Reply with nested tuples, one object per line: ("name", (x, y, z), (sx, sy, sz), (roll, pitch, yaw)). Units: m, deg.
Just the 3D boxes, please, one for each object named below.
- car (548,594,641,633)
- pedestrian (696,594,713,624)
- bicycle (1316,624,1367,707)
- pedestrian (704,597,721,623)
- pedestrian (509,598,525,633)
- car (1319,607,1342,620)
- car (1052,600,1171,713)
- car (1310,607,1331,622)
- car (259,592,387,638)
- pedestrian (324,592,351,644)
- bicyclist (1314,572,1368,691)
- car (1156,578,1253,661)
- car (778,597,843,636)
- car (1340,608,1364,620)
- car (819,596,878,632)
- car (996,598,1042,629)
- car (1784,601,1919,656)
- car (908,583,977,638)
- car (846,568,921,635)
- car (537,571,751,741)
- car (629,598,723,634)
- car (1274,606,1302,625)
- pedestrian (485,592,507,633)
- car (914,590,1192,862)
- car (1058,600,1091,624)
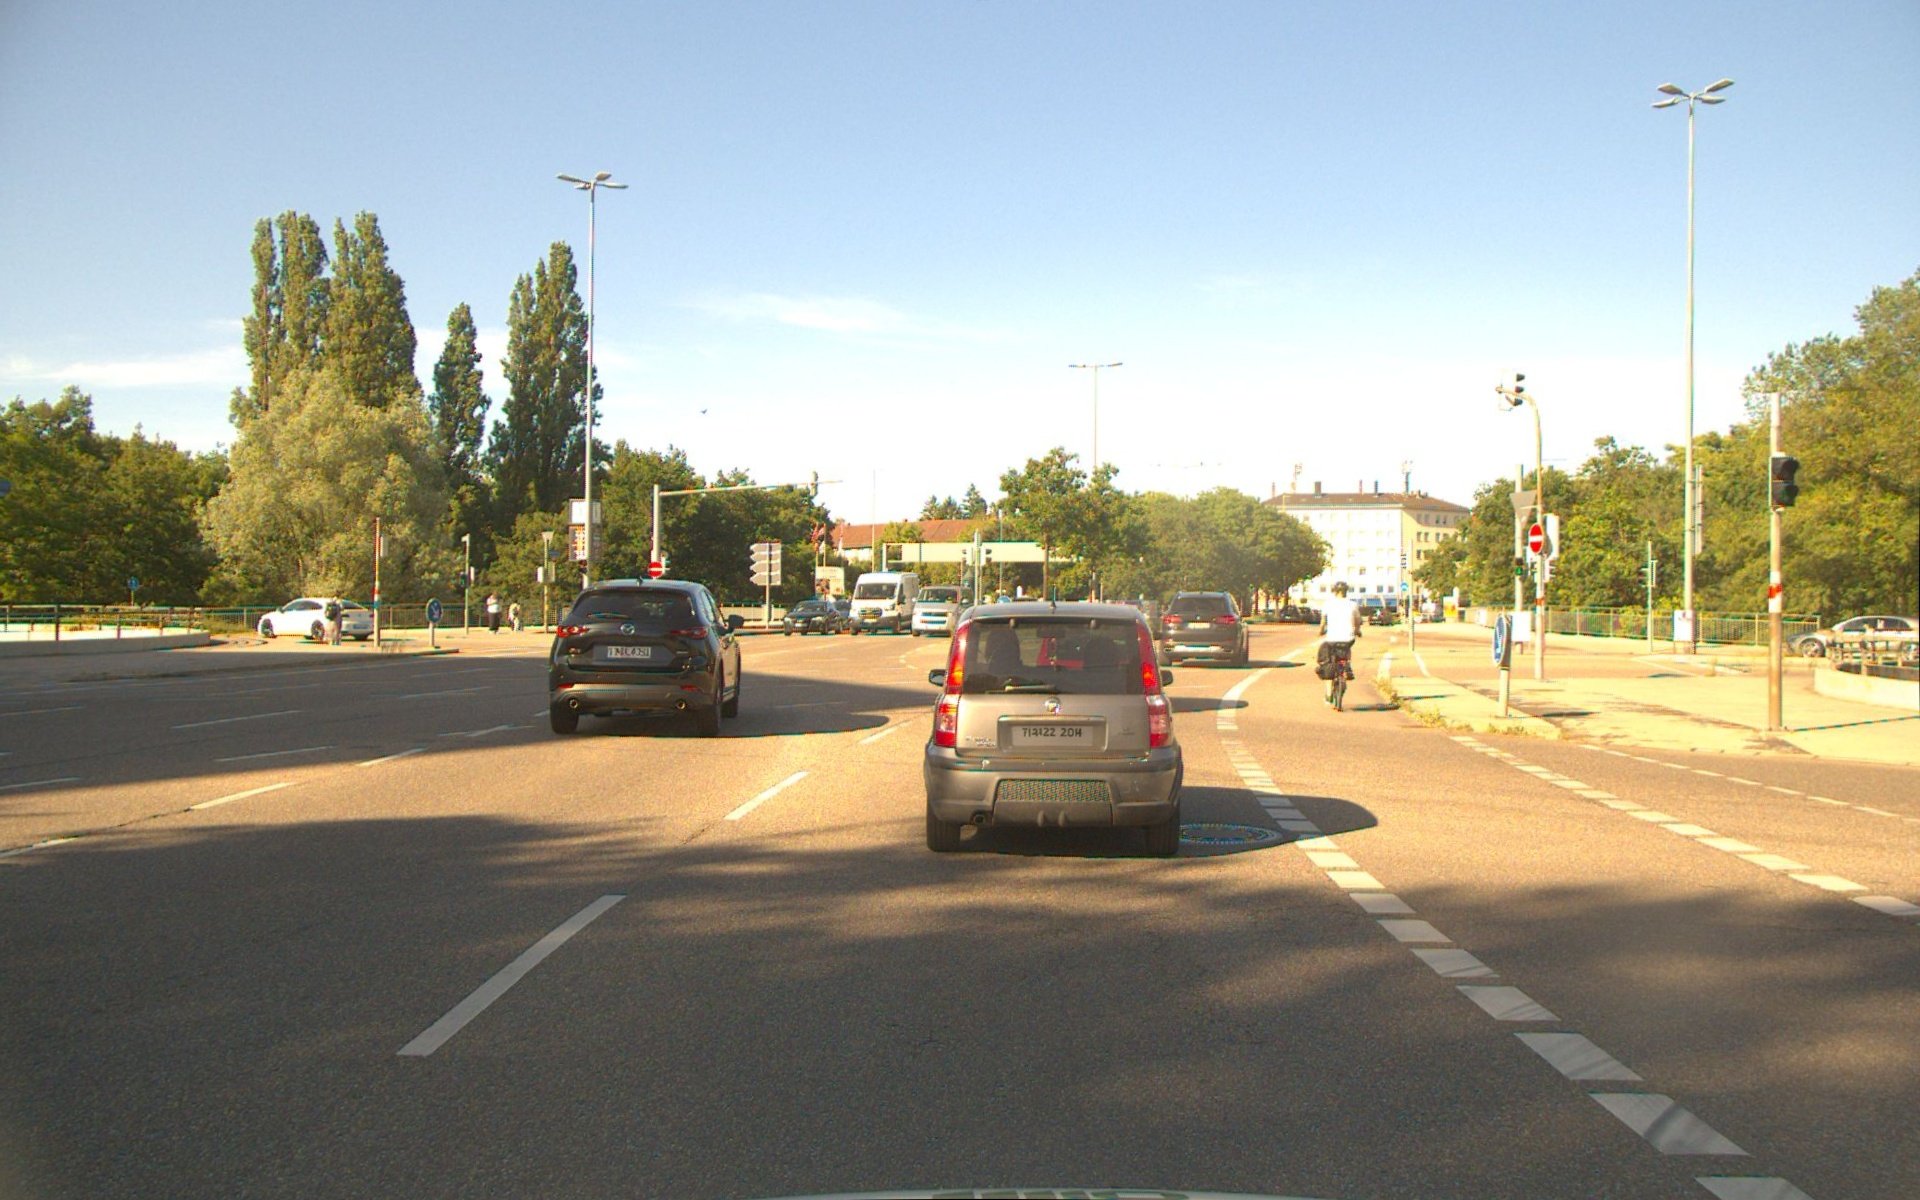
("car", (-17.311, 0.647, 78.423), (1.865, 1.654, 3.979), (0, -3, 40))
("pedestrian", (-14.893, 0.528, 96.494), (0.705, 1.670, 0.673), (1, -2, 13))
("bicycle", (5.557, 0.934, 24.135), (0.676, 1.121, 1.827), (1, 0, 13))
("pedestrian", (-14.995, 0.602, 100.333), (0.657, 1.529, 0.778), (1, -2, 28))
("pedestrian", (-20.060, 0.709, 74.894), (0.550, 1.575, 0.571), (0, -2, -27))
("car", (44.689, 1.624, 199.330), (1.907, 1.555, 4.094), (0, 0, 25))
("car", (2.200, 0.763, 24.209), (1.583, 1.488, 3.753), (1, 0, 5))
("car", (38.705, 1.567, 177.402), (1.904, 1.555, 4.099), (0, 0, 17))
("car", (-21.462, 0.493, 55.666), (4.225, 1.439, 1.782), (1, 0, 31))
("pedestrian", (-18.080, 0.515, 48.062), (0.668, 1.489, 0.699), (0, 0, -18))
("bicyclist", (5.572, 0.452, 24.187), (0.708, 1.688, 1.114), (1, 0, 13))
("car", (5.935, 0.474, 39.806), (1.904, 1.872, 4.156), (0, -1, 14))
("car", (-6.088, 0.664, 67.858), (1.895, 1.534, 4.003), (-1, 0, 6))
("car", (50.615, 1.786, 213.356), (1.909, 1.555, 4.089), (0, 0, 30))
("car", (-5.009, 0.607, 74.872), (1.772, 1.568, 4.620), (-1, 0, 7))
("car", (3.260, 0.716, 90.072), (1.895, 1.651, 4.509), (0, 0, 10))
("car", (27.231, 0.824, 49.641), (4.171, 1.579, 1.849), (0, 0, 43))
("car", (-0.641, 0.394, 64.075), (1.895, 2.043, 4.935), (0, 0, 8))
("car", (-3.044, 0.054, 67.376), (1.895, 2.621, 6.093), (0, 0, 8))
("car", (-3.507, 0.584, 19.086), (1.837, 1.739, 4.194), (0, 0, -3))
("car", (-13.204, 0.721, 77.051), (1.750, 1.562, 4.311), (2, 1, 37))
("car", (27.056, 1.240, 136.401), (1.904, 1.555, 4.100), (0, 0, 16))
("pedestrian", (-17.770, 0.475, 63.320), (0.701, 1.574, 0.722), (0, -1, -28))
("car", (0.698, 0.724, 11.482), (1.583, 1.542, 3.822), (1, 0, 5))
("car", (8.111, 0.856, 116.653), (1.895, 1.651, 4.509), (0, 0, 10))
